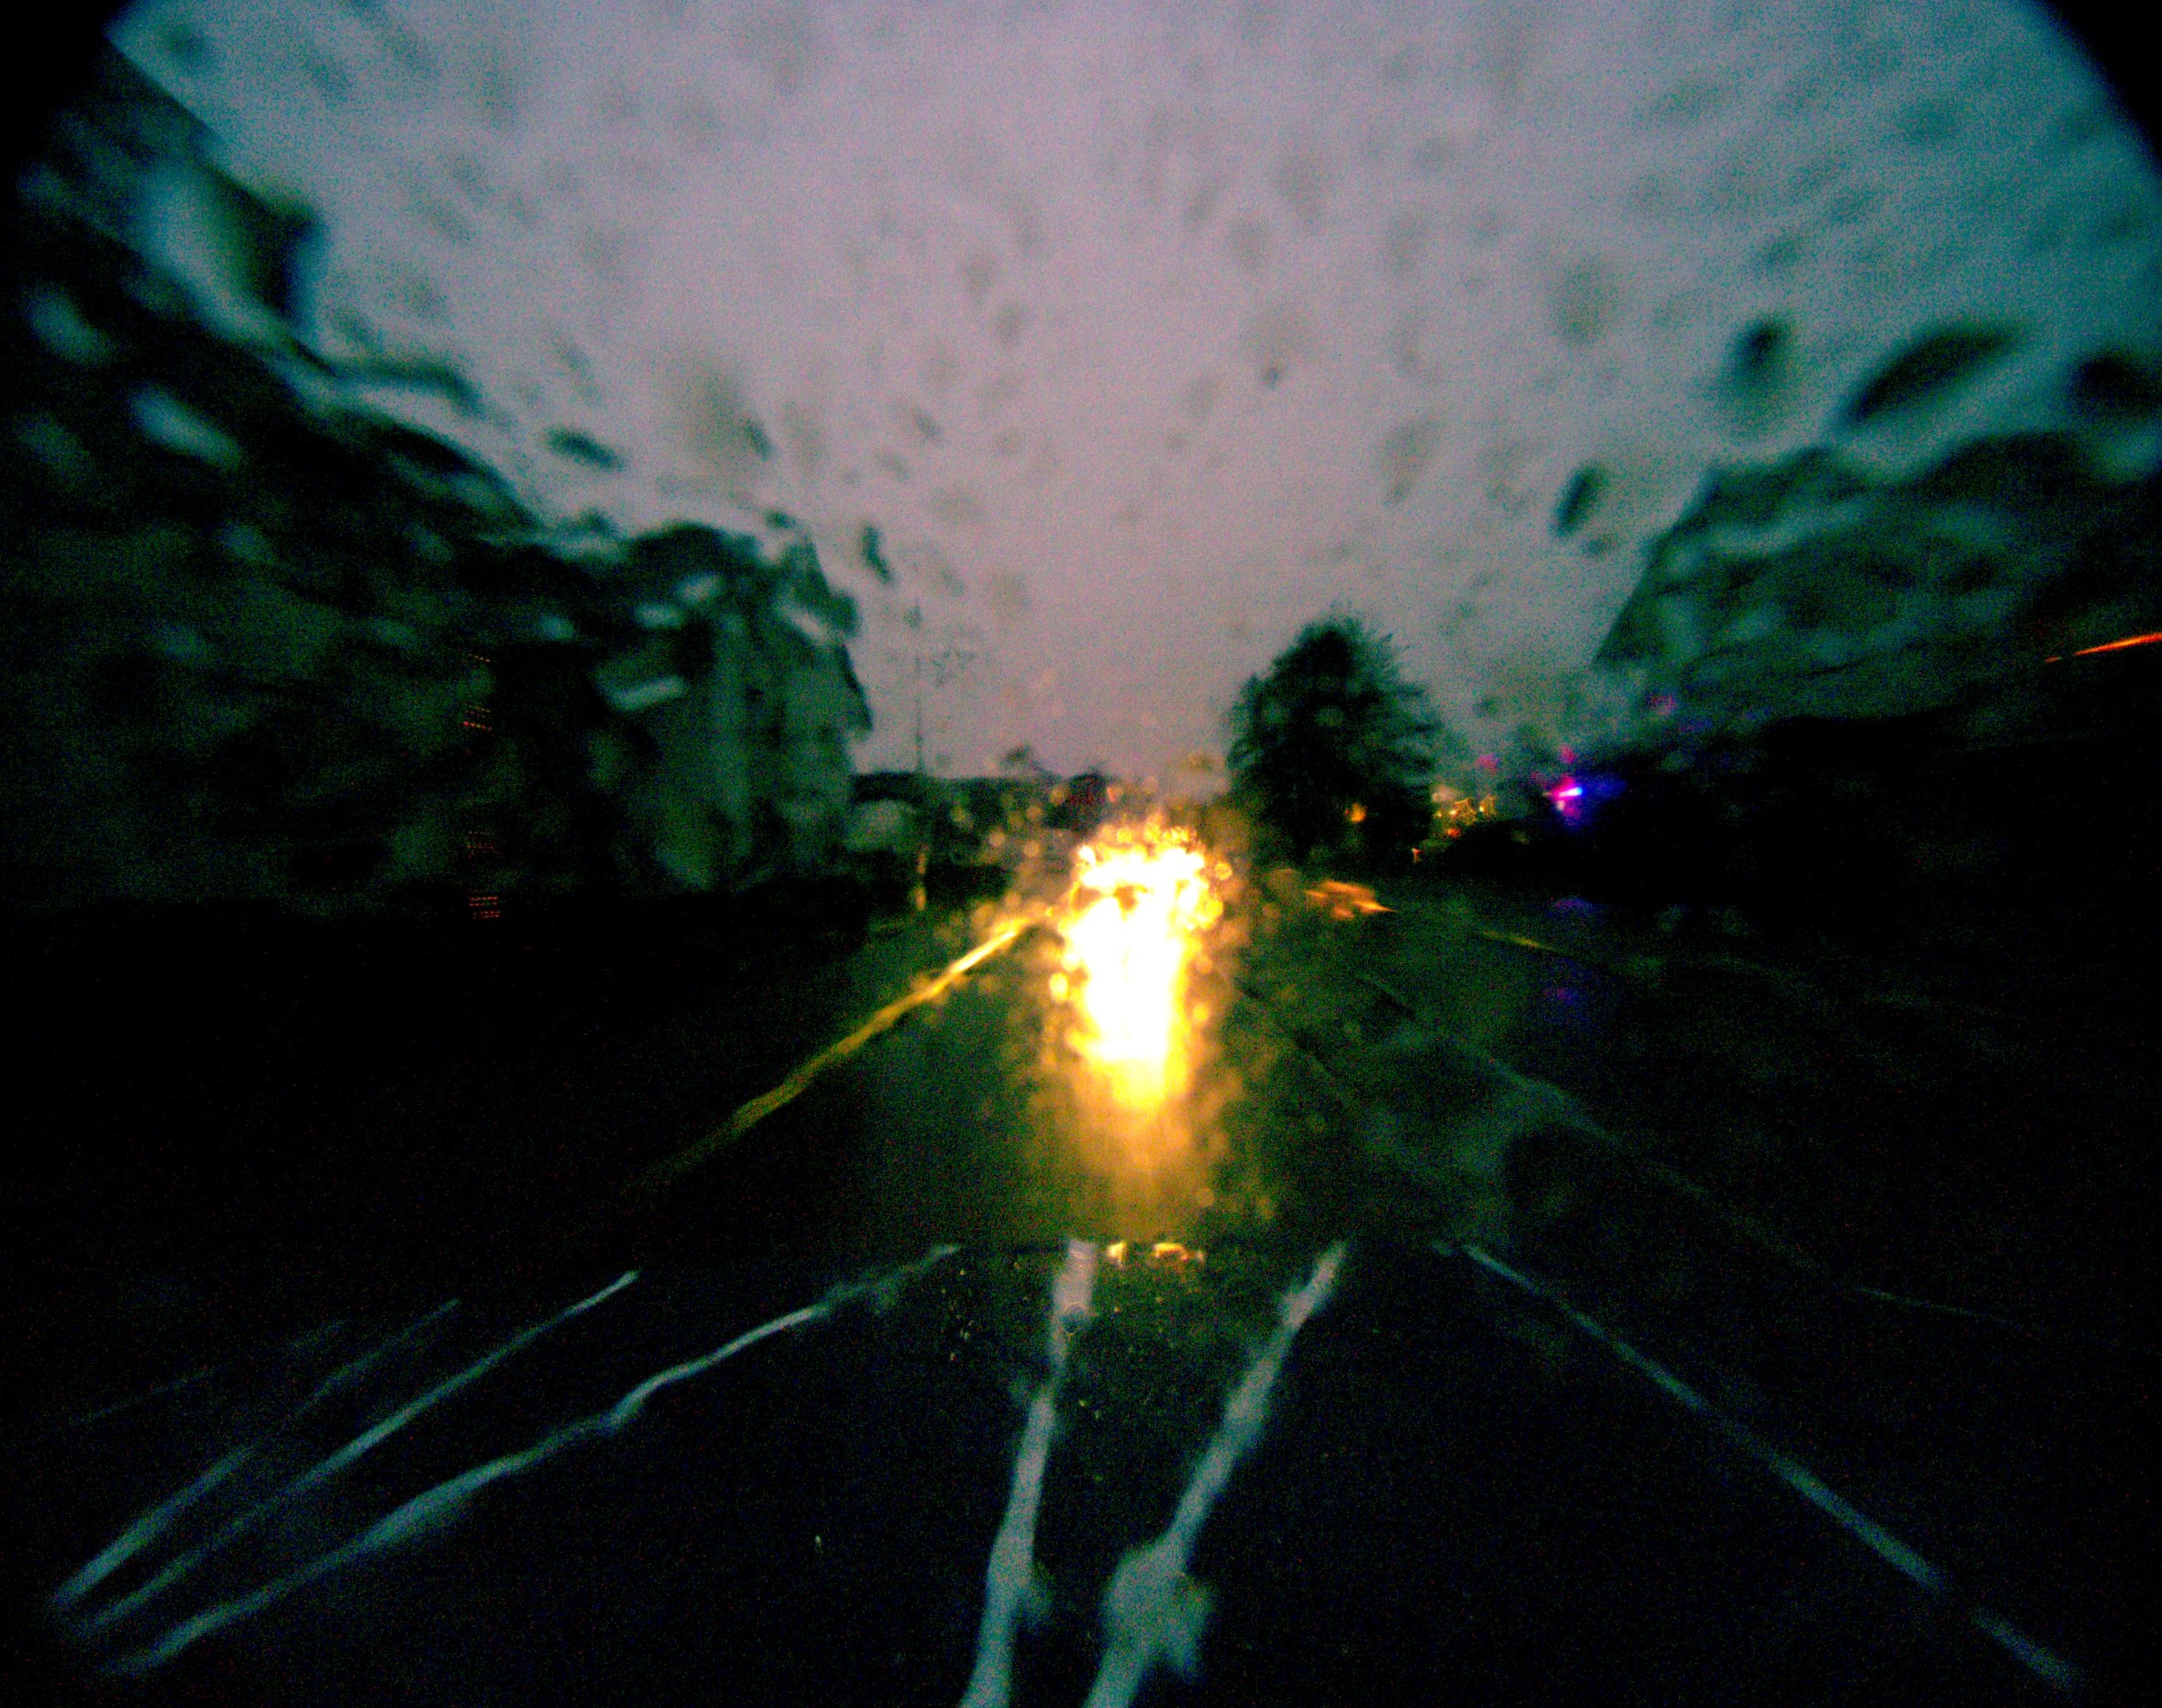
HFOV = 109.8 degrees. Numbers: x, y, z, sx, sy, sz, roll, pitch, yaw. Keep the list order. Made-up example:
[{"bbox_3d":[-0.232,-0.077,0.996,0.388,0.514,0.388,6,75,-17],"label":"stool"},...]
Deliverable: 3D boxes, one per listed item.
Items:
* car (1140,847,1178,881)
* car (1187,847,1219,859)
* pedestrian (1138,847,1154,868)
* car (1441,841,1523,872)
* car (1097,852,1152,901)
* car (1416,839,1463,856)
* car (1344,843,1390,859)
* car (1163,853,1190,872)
[{"bbox_3d":[4.430,0.509,42.694,1.897,1.689,4.242,-4,0,7],"label":"car"},{"bbox_3d":[18.457,-0.110,114.837,4.409,1.713,1.781,-1,0,39],"label":"car"},{"bbox_3d":[5.978,0.311,69.833,1.256,1.855,1.304,1,1,16],"label":"pedestrian"},{"bbox_3d":[28.602,0.215,54.286,4.657,1.965,2.129,-3,-1,1],"label":"car"},{"bbox_3d":[1.672,0.770,28.122,1.775,1.632,4.423,-1,0,6],"label":"car"},{"bbox_3d":[47.406,-0.878,100.681,5.195,2.269,2.220,0,0,6],"label":"car"},{"bbox_3d":[33.935,-0.365,90.212,4.780,1.702,2.034,-1,0,6],"label":"car"},{"bbox_3d":[8.016,0.659,63.544,1.997,1.464,4.003,-2,0,11],"label":"car"}]
